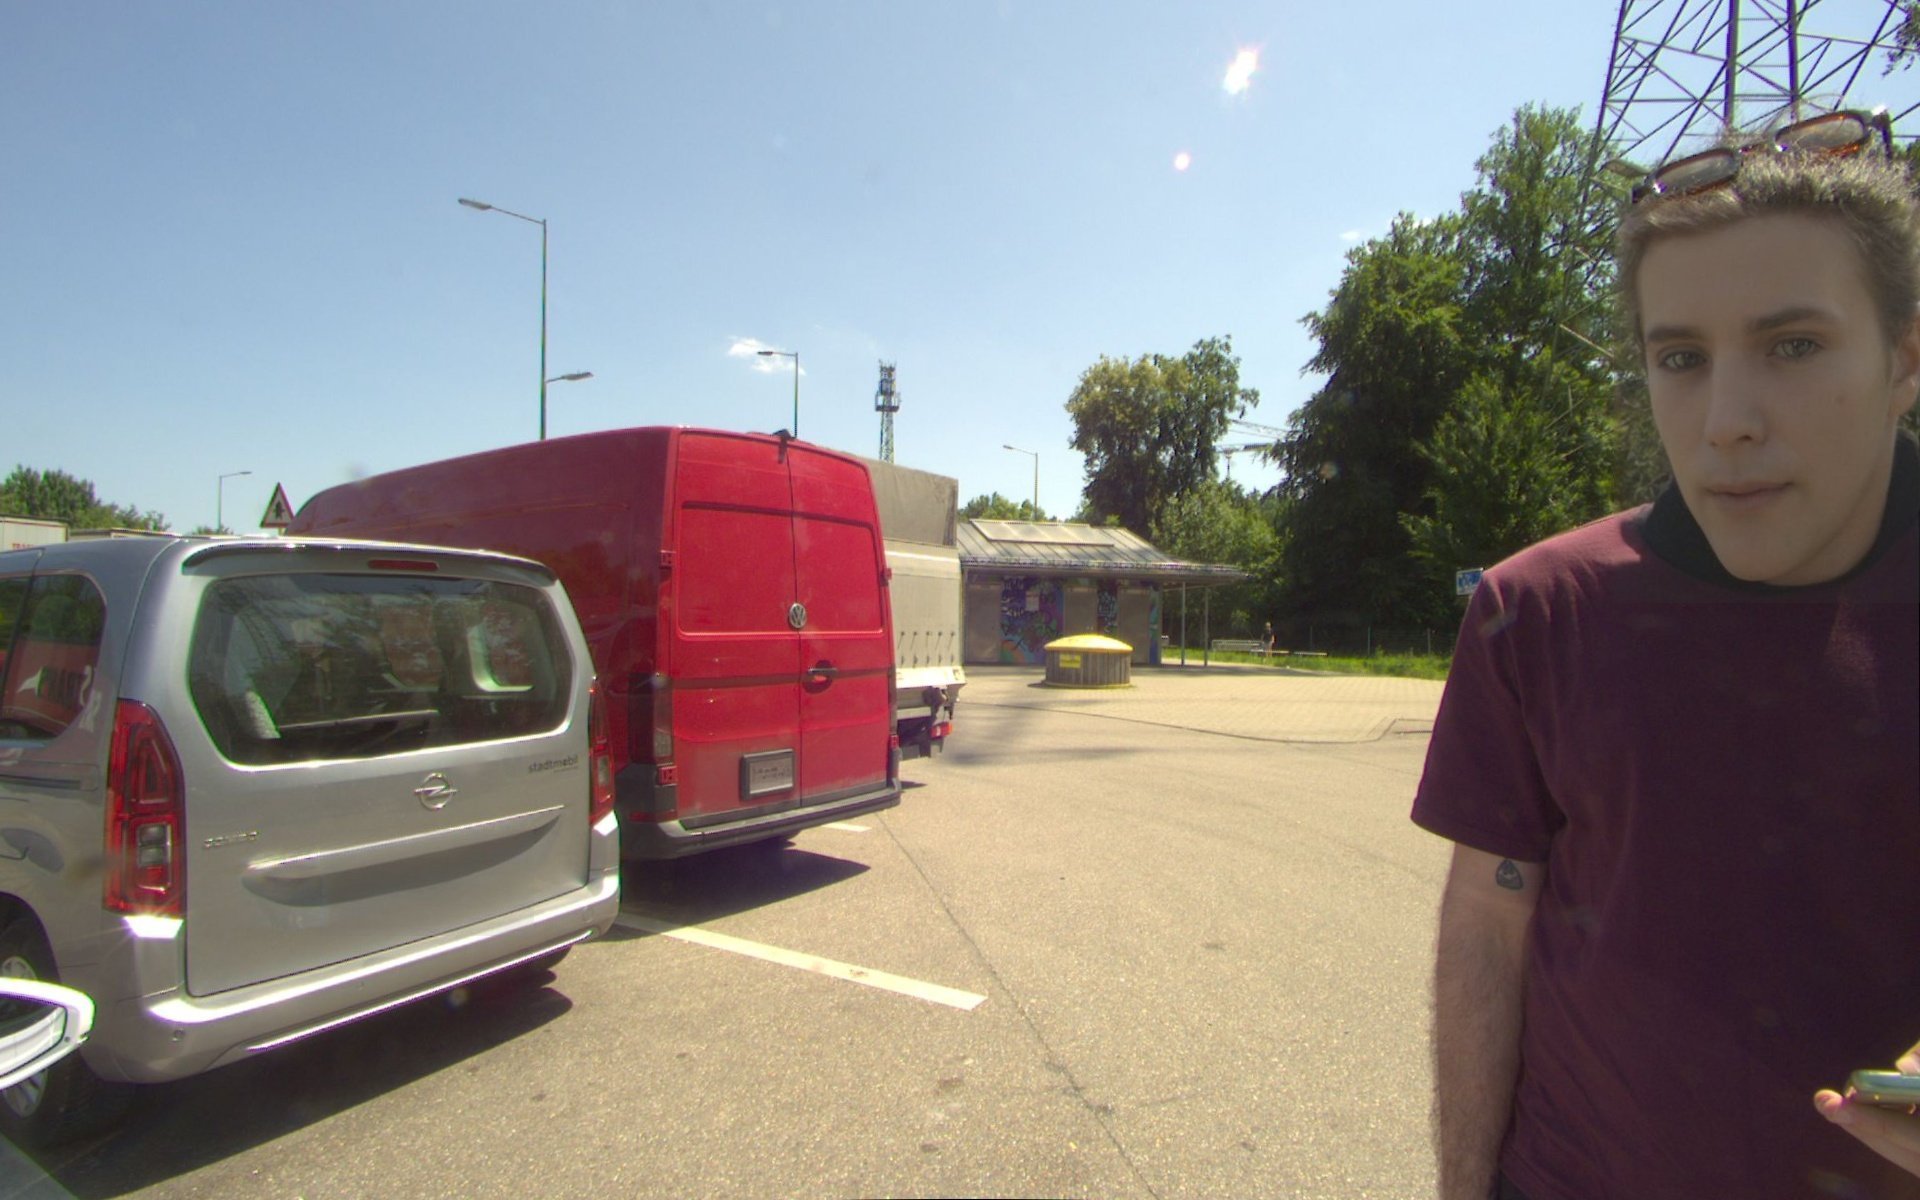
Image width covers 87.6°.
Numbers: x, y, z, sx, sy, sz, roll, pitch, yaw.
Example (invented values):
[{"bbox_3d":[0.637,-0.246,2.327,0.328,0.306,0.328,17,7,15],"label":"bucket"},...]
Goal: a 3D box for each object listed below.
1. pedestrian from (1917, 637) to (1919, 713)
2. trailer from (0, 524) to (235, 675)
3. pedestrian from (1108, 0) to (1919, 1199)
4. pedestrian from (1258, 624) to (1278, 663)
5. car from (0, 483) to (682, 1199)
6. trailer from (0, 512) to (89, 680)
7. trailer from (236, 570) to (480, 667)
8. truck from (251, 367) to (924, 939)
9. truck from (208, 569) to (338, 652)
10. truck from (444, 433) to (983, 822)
[{"bbox_3d":[17.261,1.326,17.473,0.690,1.352,0.561,-1,-1,33],"label":"pedestrian"},{"bbox_3d":[-27.949,-0.098,31.784,14.184,4.040,2.808,2,-2,33],"label":"trailer"},{"bbox_3d":[0.712,0.544,0.823,0.851,1.857,0.858,-1,-2,39],"label":"pedestrian"},{"bbox_3d":[13.413,1.902,43.591,0.725,1.658,0.790,-1,-1,27],"label":"pedestrian"},{"bbox_3d":[-3.379,0.691,4.245,4.113,1.887,1.868,1,-2,31],"label":"car"},{"bbox_3d":[-29.013,-0.255,28.138,14.184,4.040,2.808,2,-2,33],"label":"trailer"},{"bbox_3d":[-26.095,0.649,42.900,14.184,3.552,2.808,2,-2,33],"label":"trailer"},{"bbox_3d":[-2.886,0.341,7.044,5.238,2.655,1.972,-2,-2,38],"label":"truck"},{"bbox_3d":[-32.090,0.470,46.757,5.813,3.566,2.799,2,-2,33],"label":"truck"},{"bbox_3d":[-2.735,0.309,10.283,5.582,2.949,2.449,-2,-2,37],"label":"truck"}]
